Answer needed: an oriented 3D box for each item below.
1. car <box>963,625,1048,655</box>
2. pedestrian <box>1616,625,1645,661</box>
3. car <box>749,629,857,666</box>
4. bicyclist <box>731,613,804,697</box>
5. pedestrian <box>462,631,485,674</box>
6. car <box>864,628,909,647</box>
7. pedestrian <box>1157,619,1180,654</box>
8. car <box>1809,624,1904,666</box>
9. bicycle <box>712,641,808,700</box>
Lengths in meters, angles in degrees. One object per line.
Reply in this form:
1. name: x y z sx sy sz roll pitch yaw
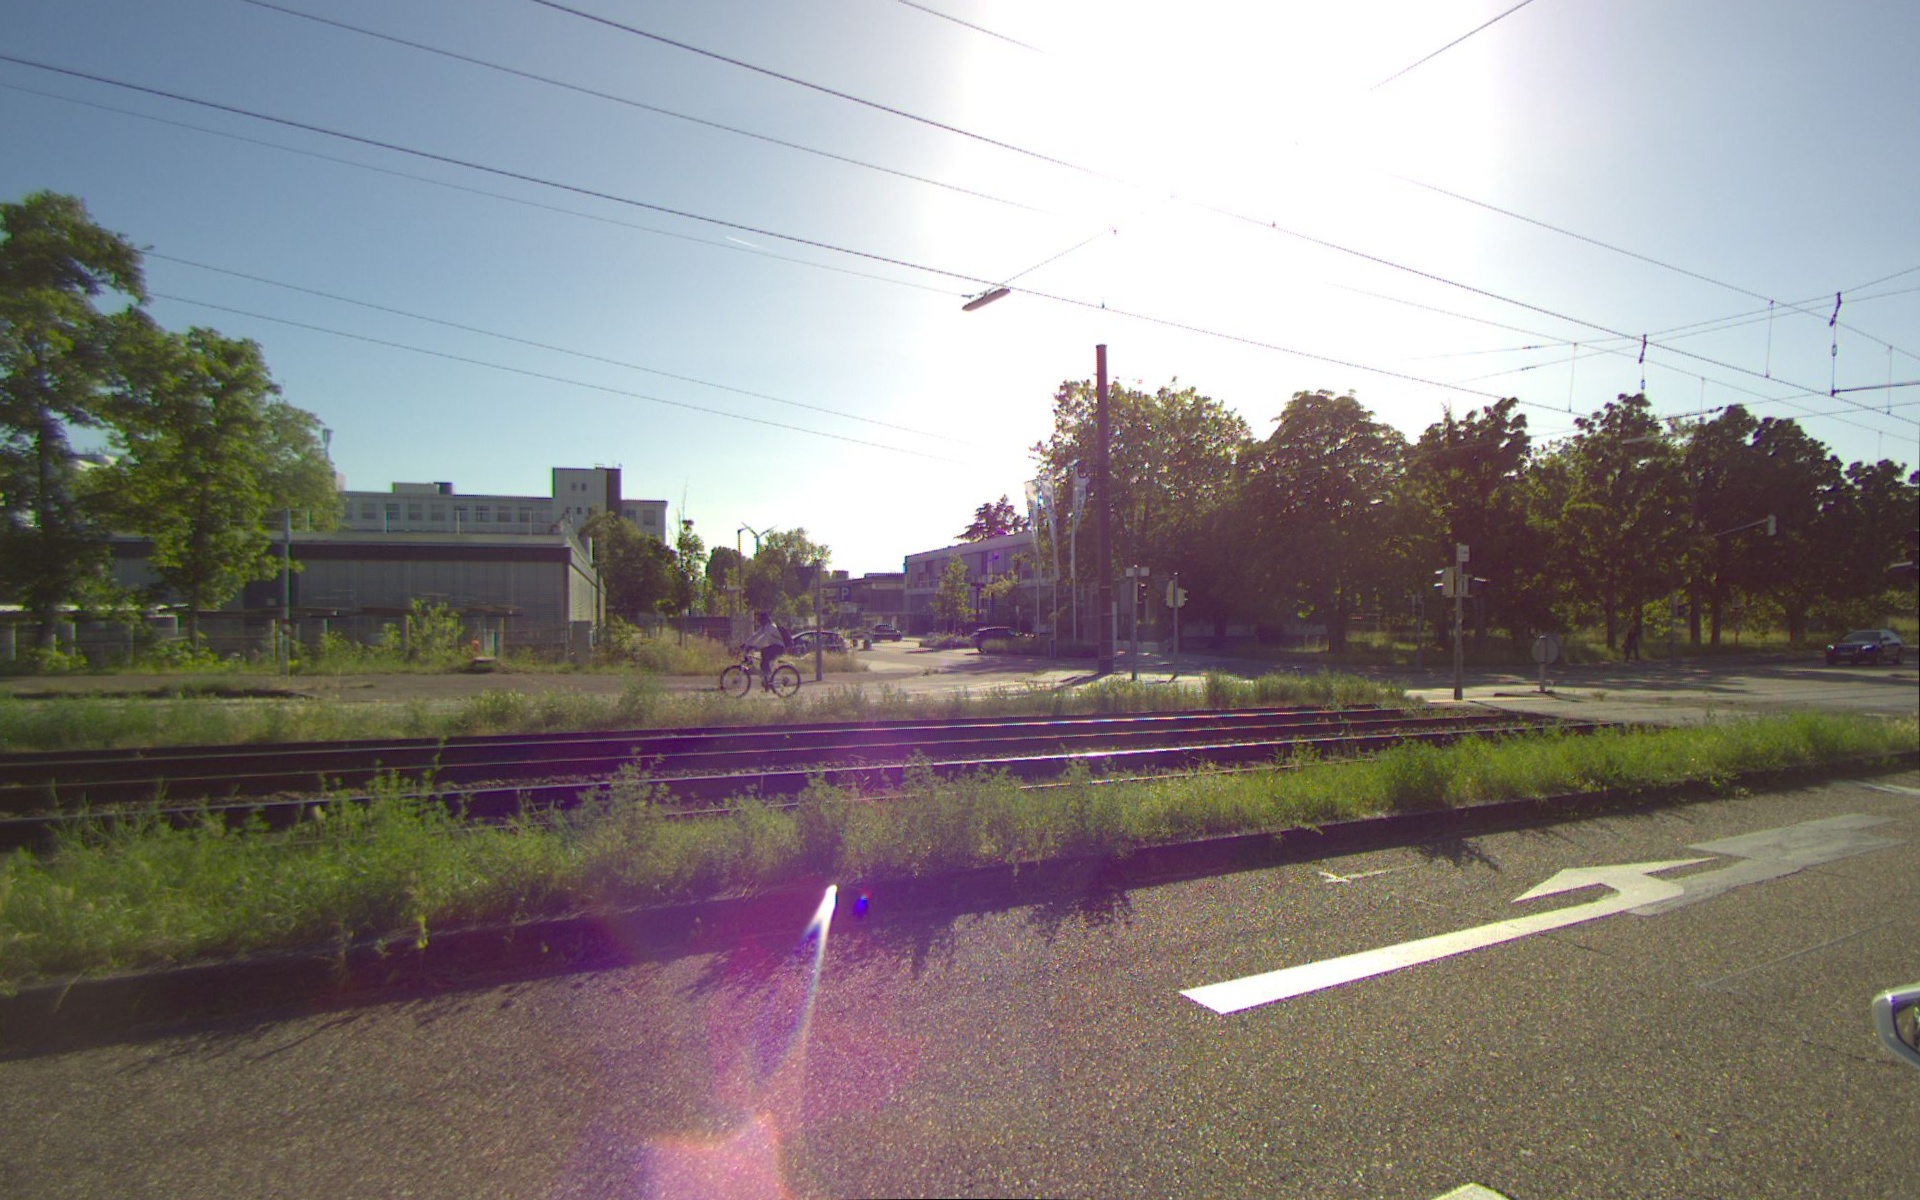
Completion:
1. car: 2.786 2.439 61.469 4.768 1.751 2.042 1 0 -21
2. pedestrian: 33.087 2.104 49.579 0.919 1.757 0.761 0 -1 -2
3. car: -8.096 2.429 51.676 5.210 1.772 2.164 1 0 -19
4. bicyclist: -3.879 1.086 20.215 1.222 1.614 0.799 1 0 -29
5. pedestrian: -15.118 1.628 31.228 0.432 1.318 0.441 0 -1 18
6. car: -6.538 3.369 89.344 3.566 1.611 1.792 1 -1 -23
7. pedestrian: 10.748 1.860 51.717 0.807 1.811 0.950 0 -1 -16
8. car: 42.536 2.118 47.634 4.739 1.834 2.082 0 -2 -32
9. bicycle: -4.000 1.388 20.151 1.760 1.117 0.693 1 0 -30
